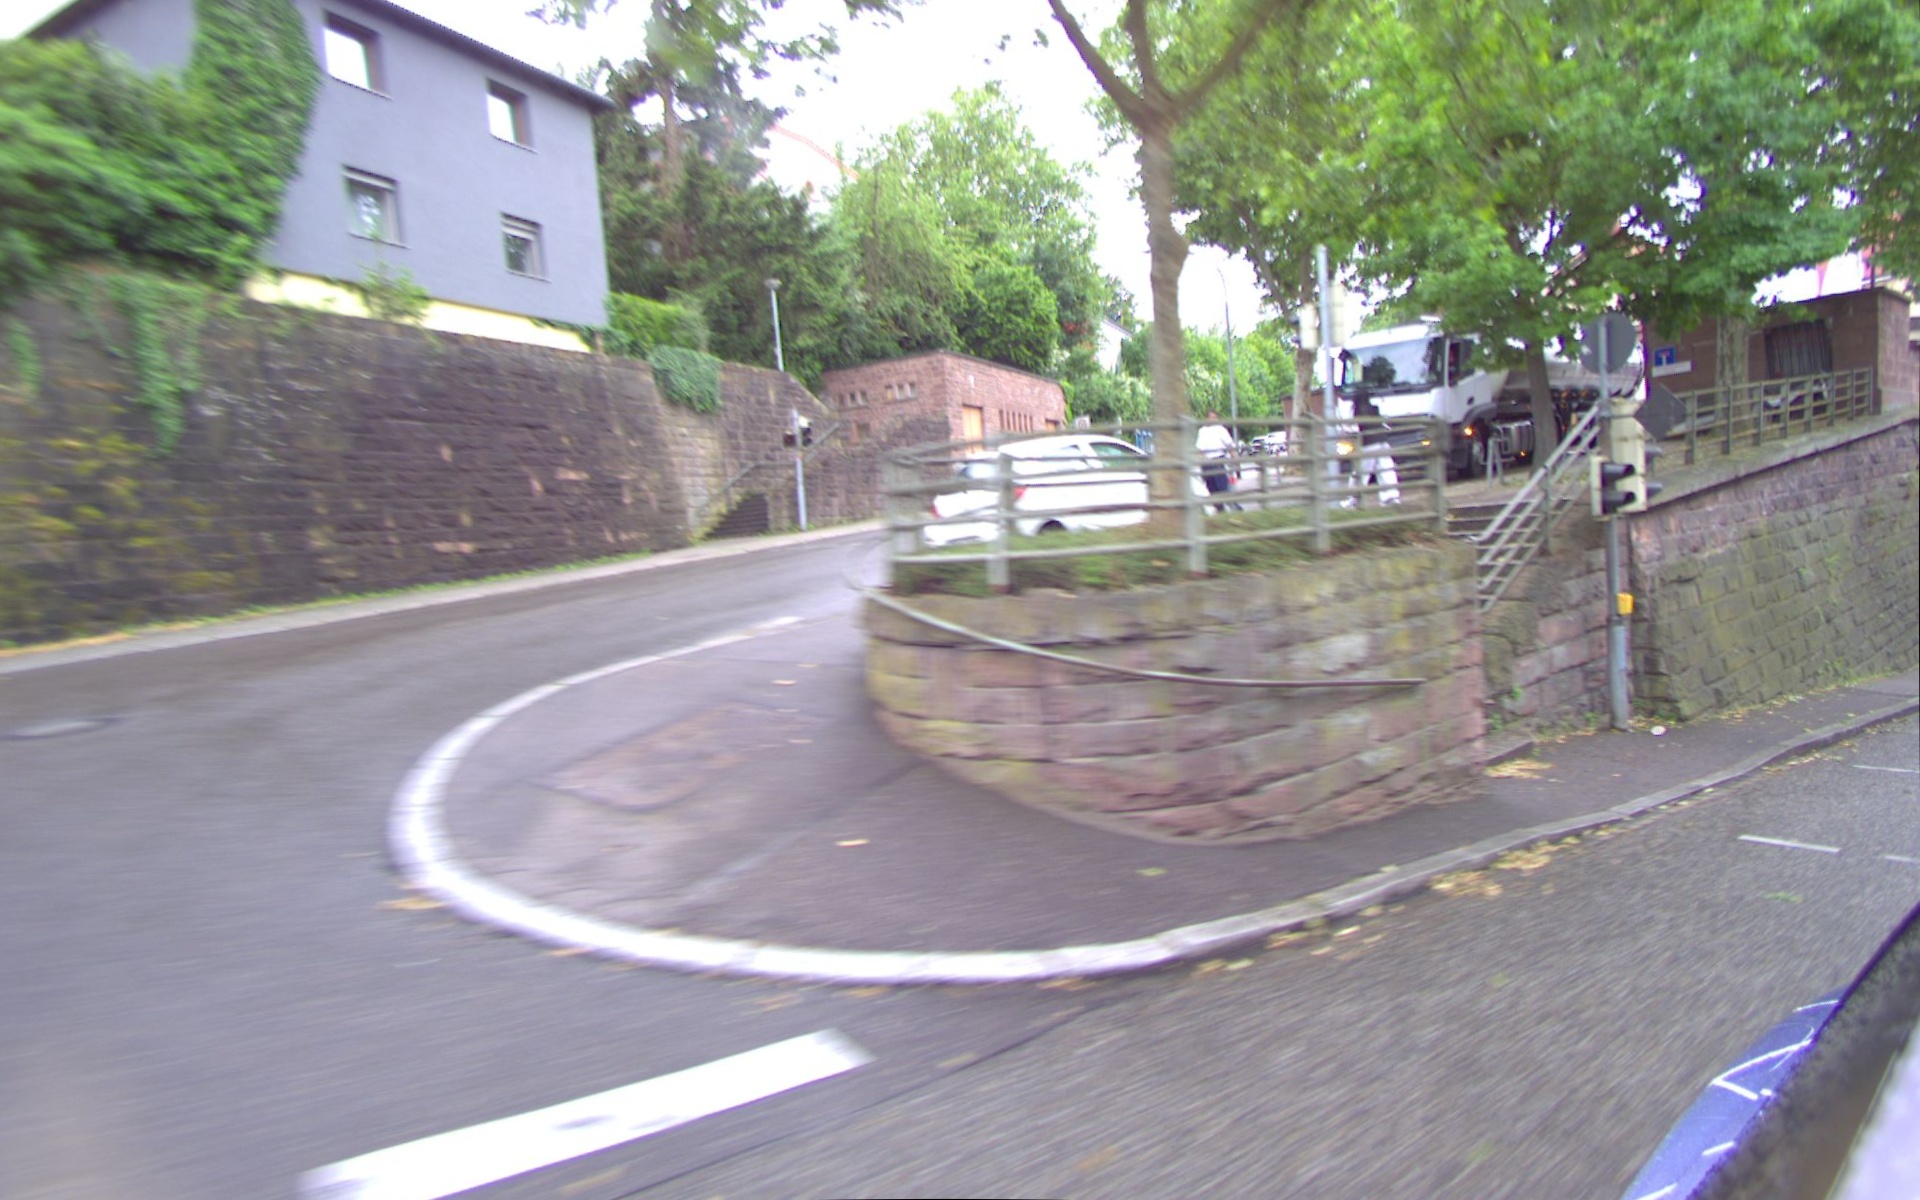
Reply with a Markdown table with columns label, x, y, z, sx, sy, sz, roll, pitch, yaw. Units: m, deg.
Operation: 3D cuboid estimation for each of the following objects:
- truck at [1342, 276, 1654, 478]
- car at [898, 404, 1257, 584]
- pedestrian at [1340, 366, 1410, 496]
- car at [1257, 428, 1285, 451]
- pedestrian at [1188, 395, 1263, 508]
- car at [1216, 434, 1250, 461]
| label | x | y | z | sx | sy | sz | roll | pitch | yaw |
| --- | --- | --- | --- | --- | --- | --- | --- | --- | --- |
| truck | 12.421 | -5.111 | 22.499 | 11.073 | 3.341 | 2.750 | -16 | 12 | -43 |
| car | 1.534 | -1.315 | 11.987 | 4.281 | 1.508 | 1.633 | -13 | 7 | -40 |
| pedestrian | 5.838 | -2.349 | 14.279 | 0.767 | 1.697 | 0.871 | -1 | 3 | 13 |
| car | 28.000 | -14.483 | 91.152 | 1.717 | 1.656 | 3.975 | -4 | 9 | 27 |
| pedestrian | 4.258 | -2.354 | 16.258 | 0.764 | 1.697 | 0.874 | -3 | 4 | -34 |
| car | 20.771 | -11.615 | 76.896 | 1.717 | 1.656 | 3.975 | -4 | 9 | 27 |
